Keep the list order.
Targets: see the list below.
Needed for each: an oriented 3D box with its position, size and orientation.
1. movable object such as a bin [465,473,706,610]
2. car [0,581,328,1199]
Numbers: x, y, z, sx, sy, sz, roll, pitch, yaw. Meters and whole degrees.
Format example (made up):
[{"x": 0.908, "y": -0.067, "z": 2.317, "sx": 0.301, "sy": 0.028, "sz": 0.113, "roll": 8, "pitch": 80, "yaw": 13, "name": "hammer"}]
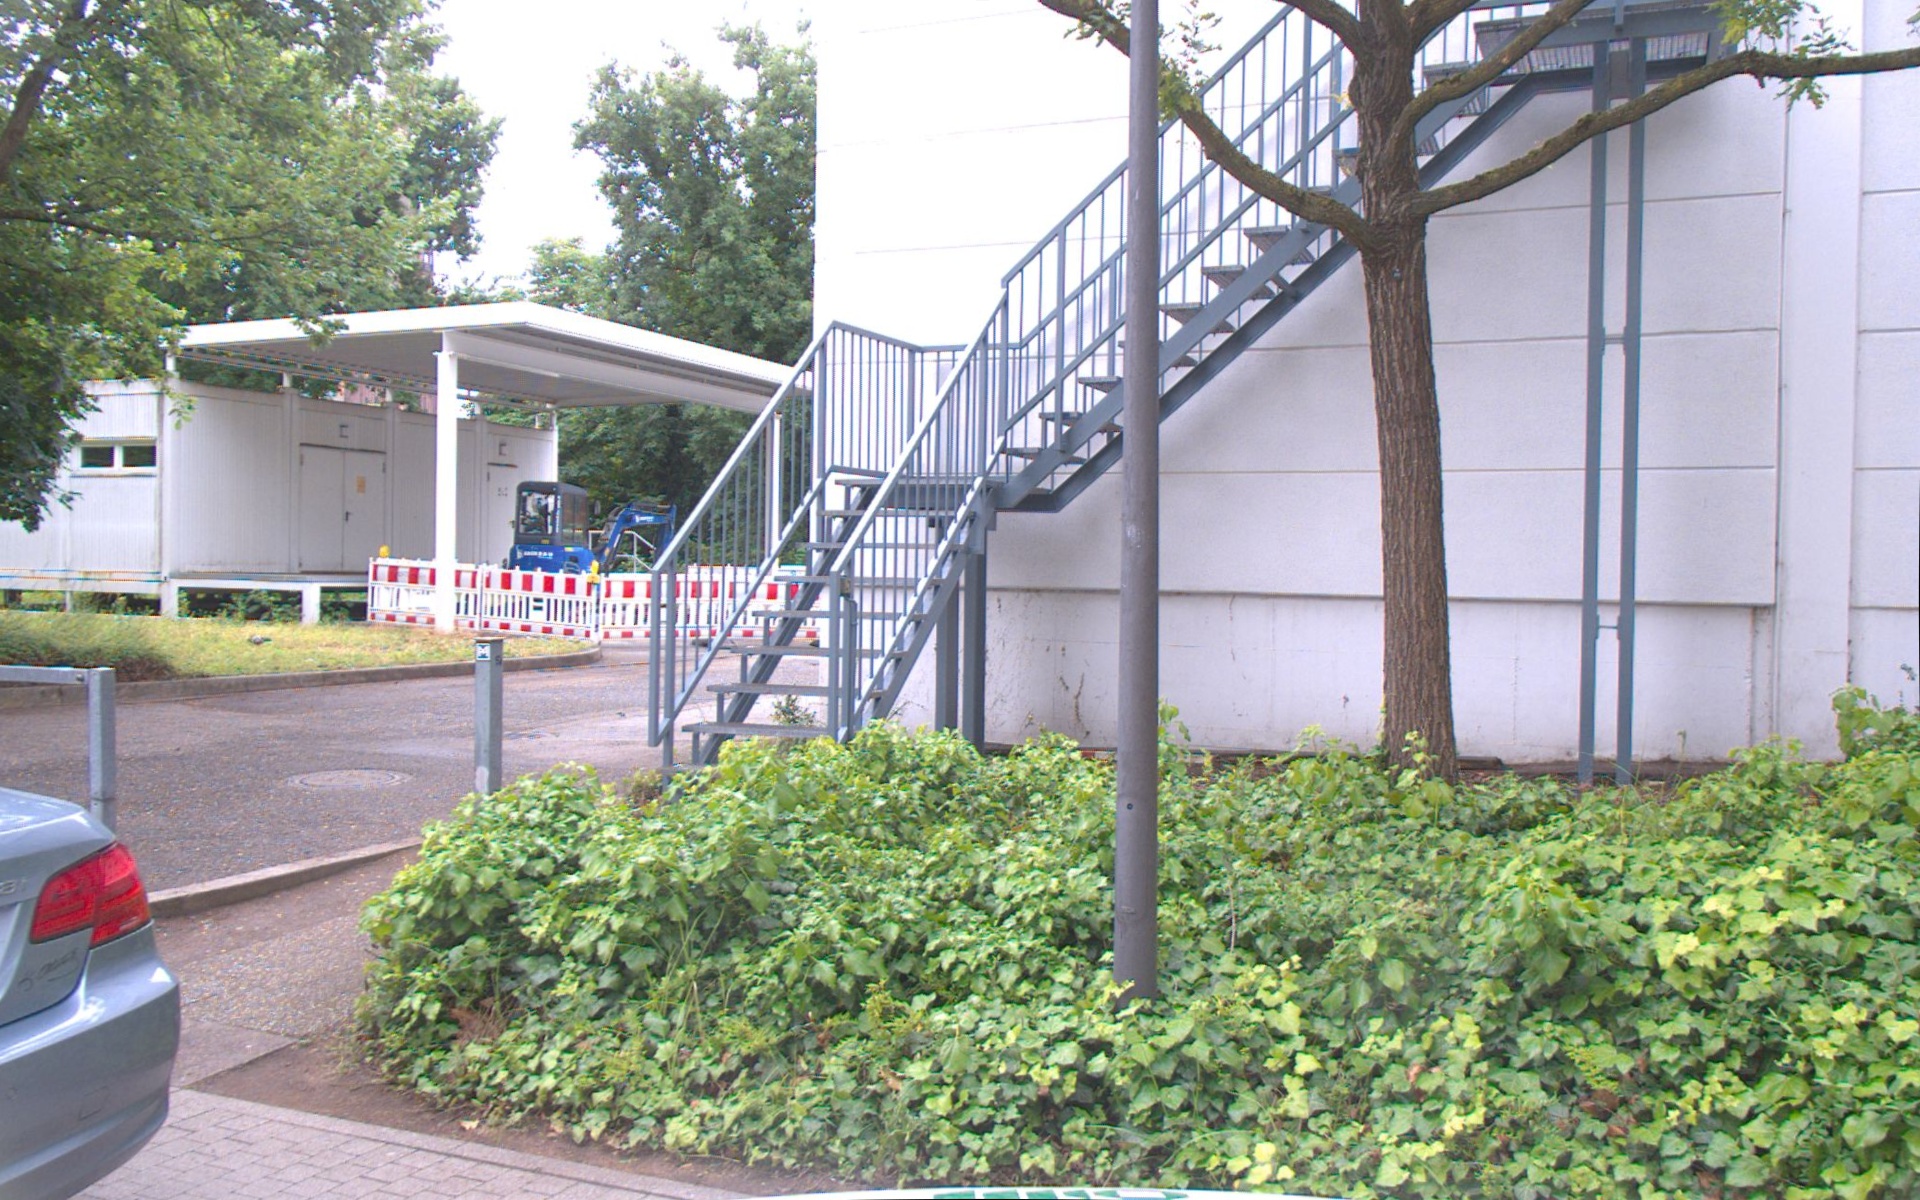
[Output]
[{"x": -6.496, "y": -0.966, "z": 29.290, "sx": 1.952, "sy": 2.209, "sz": 4.671, "roll": 1, "pitch": 0, "yaw": 20, "name": "movable object such as a bin"}, {"x": -3.533, "y": 0.674, "z": 3.272, "sx": 4.094, "sy": 1.413, "sz": 1.824, "roll": 1, "pitch": 2, "yaw": 21, "name": "car"}]
